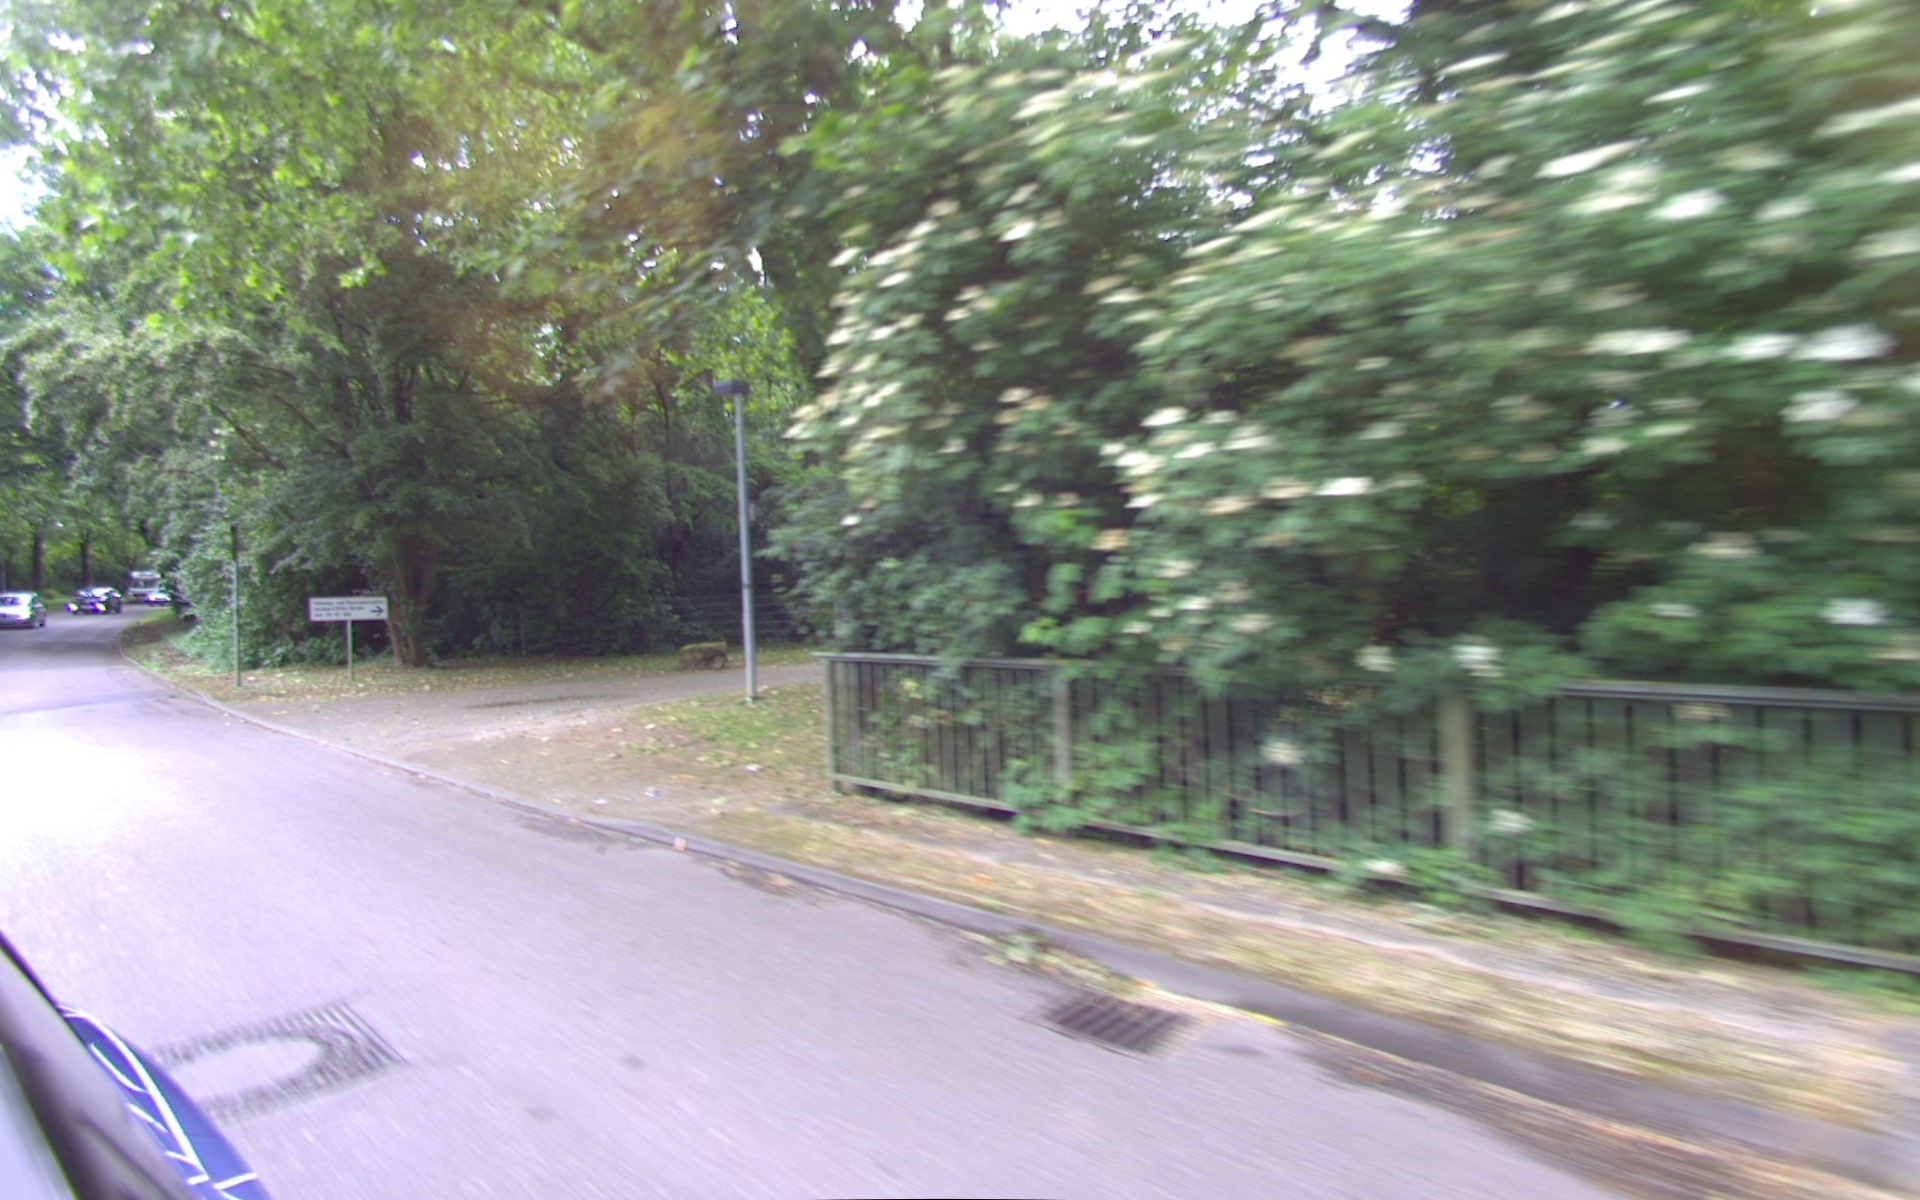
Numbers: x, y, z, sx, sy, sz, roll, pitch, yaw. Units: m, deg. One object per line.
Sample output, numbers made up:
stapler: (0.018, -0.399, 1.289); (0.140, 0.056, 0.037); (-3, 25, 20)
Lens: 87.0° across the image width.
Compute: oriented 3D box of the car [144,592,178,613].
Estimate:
car: (-63.185, 0.214, 80.068); (1.740, 1.580, 4.056); (-2, 1, -34)

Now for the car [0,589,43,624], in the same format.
car: (-44.561, 0.283, 47.606); (1.629, 1.580, 4.055); (-2, 1, -36)

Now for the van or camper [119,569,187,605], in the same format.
van or camper: (-70.106, -1.119, 88.113); (2.390, 3.002, 7.417); (-2, 1, -21)

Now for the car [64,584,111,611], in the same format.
car: (-54.614, -0.178, 63.400); (1.740, 1.580, 4.056); (-2, 1, -34)
